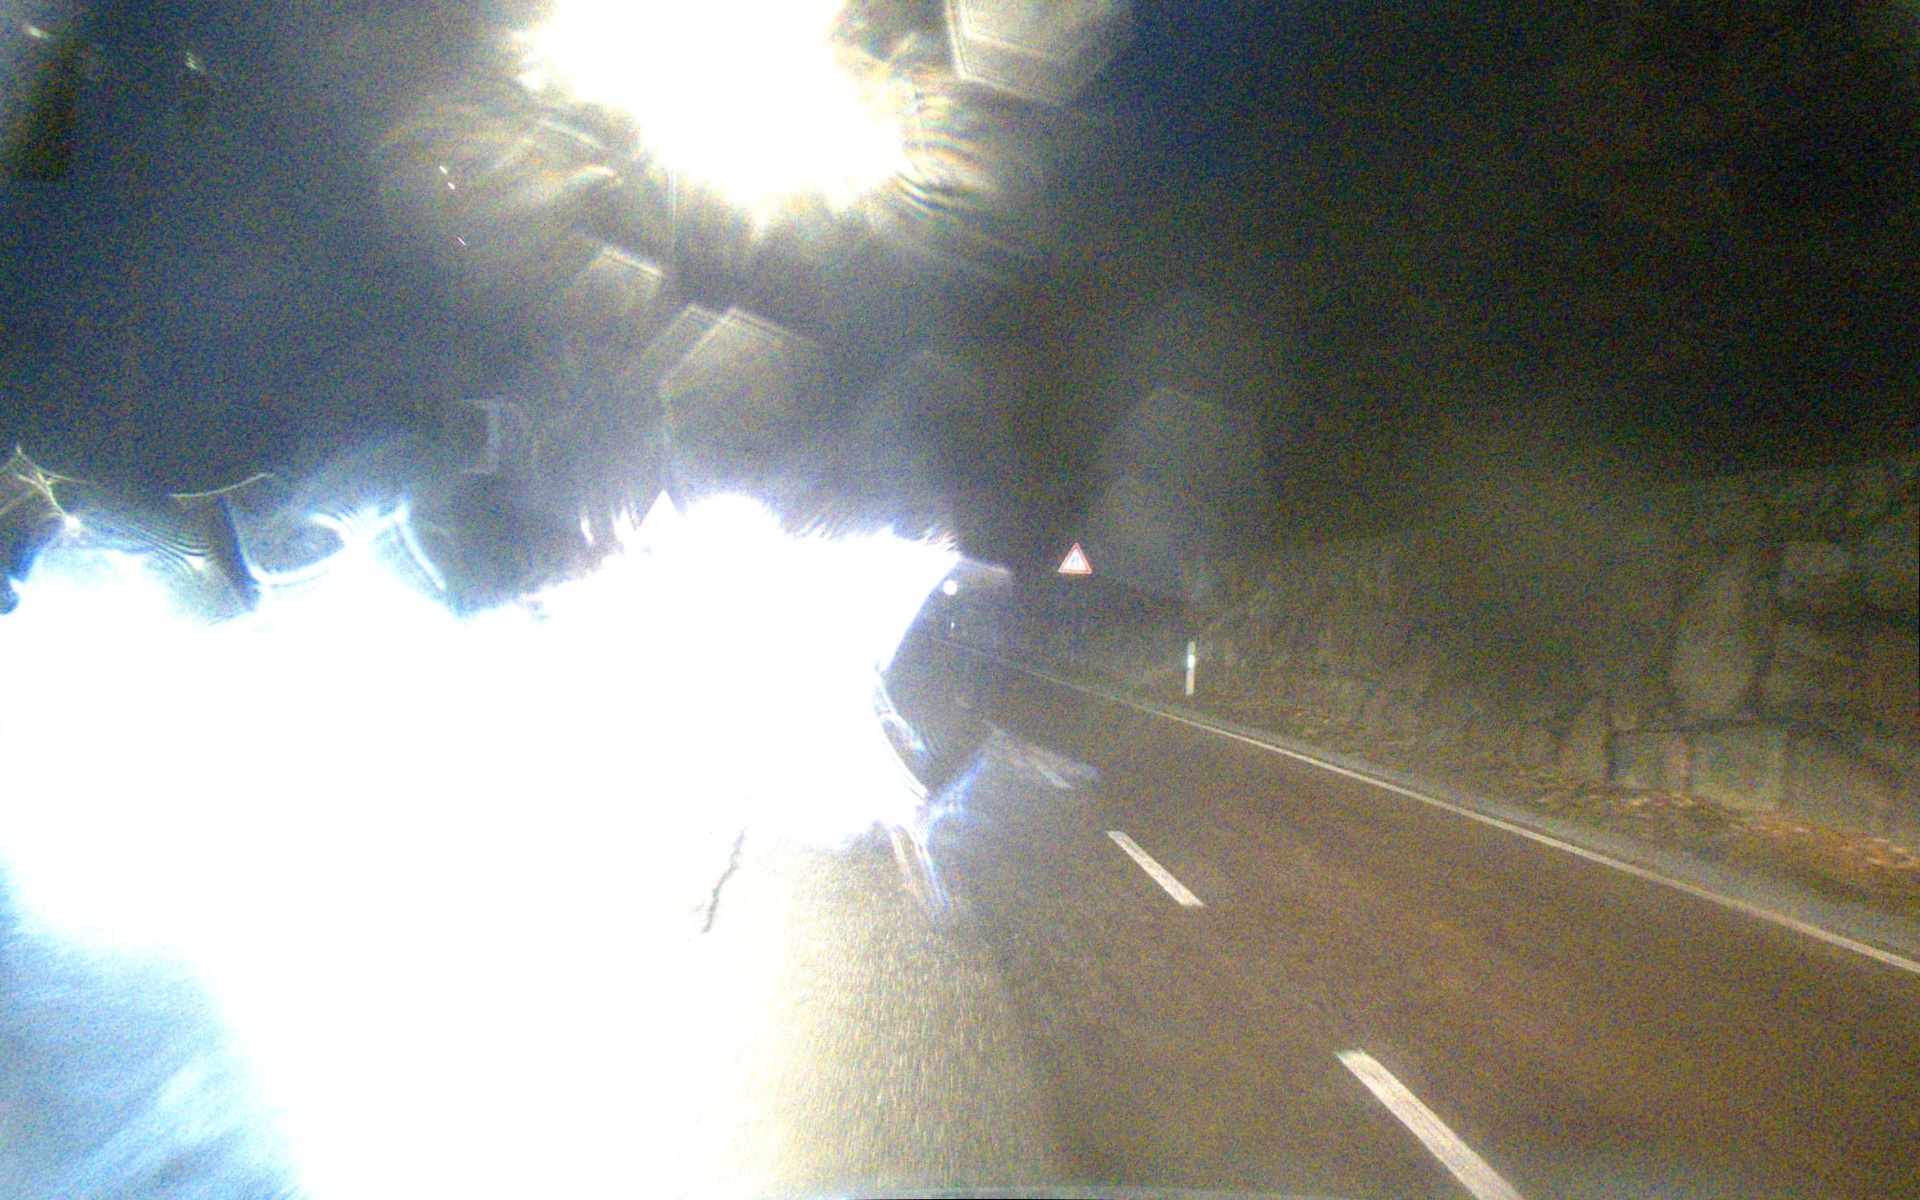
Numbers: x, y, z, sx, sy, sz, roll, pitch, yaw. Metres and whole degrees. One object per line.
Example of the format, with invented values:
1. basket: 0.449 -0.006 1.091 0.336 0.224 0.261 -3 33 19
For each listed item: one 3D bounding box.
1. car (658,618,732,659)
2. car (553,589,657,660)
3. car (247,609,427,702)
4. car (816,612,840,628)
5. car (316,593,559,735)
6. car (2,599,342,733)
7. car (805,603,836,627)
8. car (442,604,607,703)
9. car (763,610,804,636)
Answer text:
1. car: -10.904 1.552 68.442 2.136 1.586 5.204 0 0 1
2. car: -10.829 0.717 50.836 2.110 2.049 4.994 1 0 -1
3. car: -10.737 0.932 28.781 1.786 1.478 3.600 1 -1 -1
4. car: -13.142 1.978 164.402 2.067 1.603 4.678 1 0 -1
5. car: -7.082 0.843 23.012 1.954 1.728 5.009 1 -1 -3
6. car: -10.497 0.814 22.604 2.311 1.583 5.157 1 0 -2
7. car: -11.360 1.226 134.935 1.952 1.897 5.319 0 0 1
8. car: -7.686 0.930 29.639 1.918 1.598 4.464 1 -1 -3
9. car: -11.369 1.448 106.622 2.040 1.570 4.898 0 0 1
